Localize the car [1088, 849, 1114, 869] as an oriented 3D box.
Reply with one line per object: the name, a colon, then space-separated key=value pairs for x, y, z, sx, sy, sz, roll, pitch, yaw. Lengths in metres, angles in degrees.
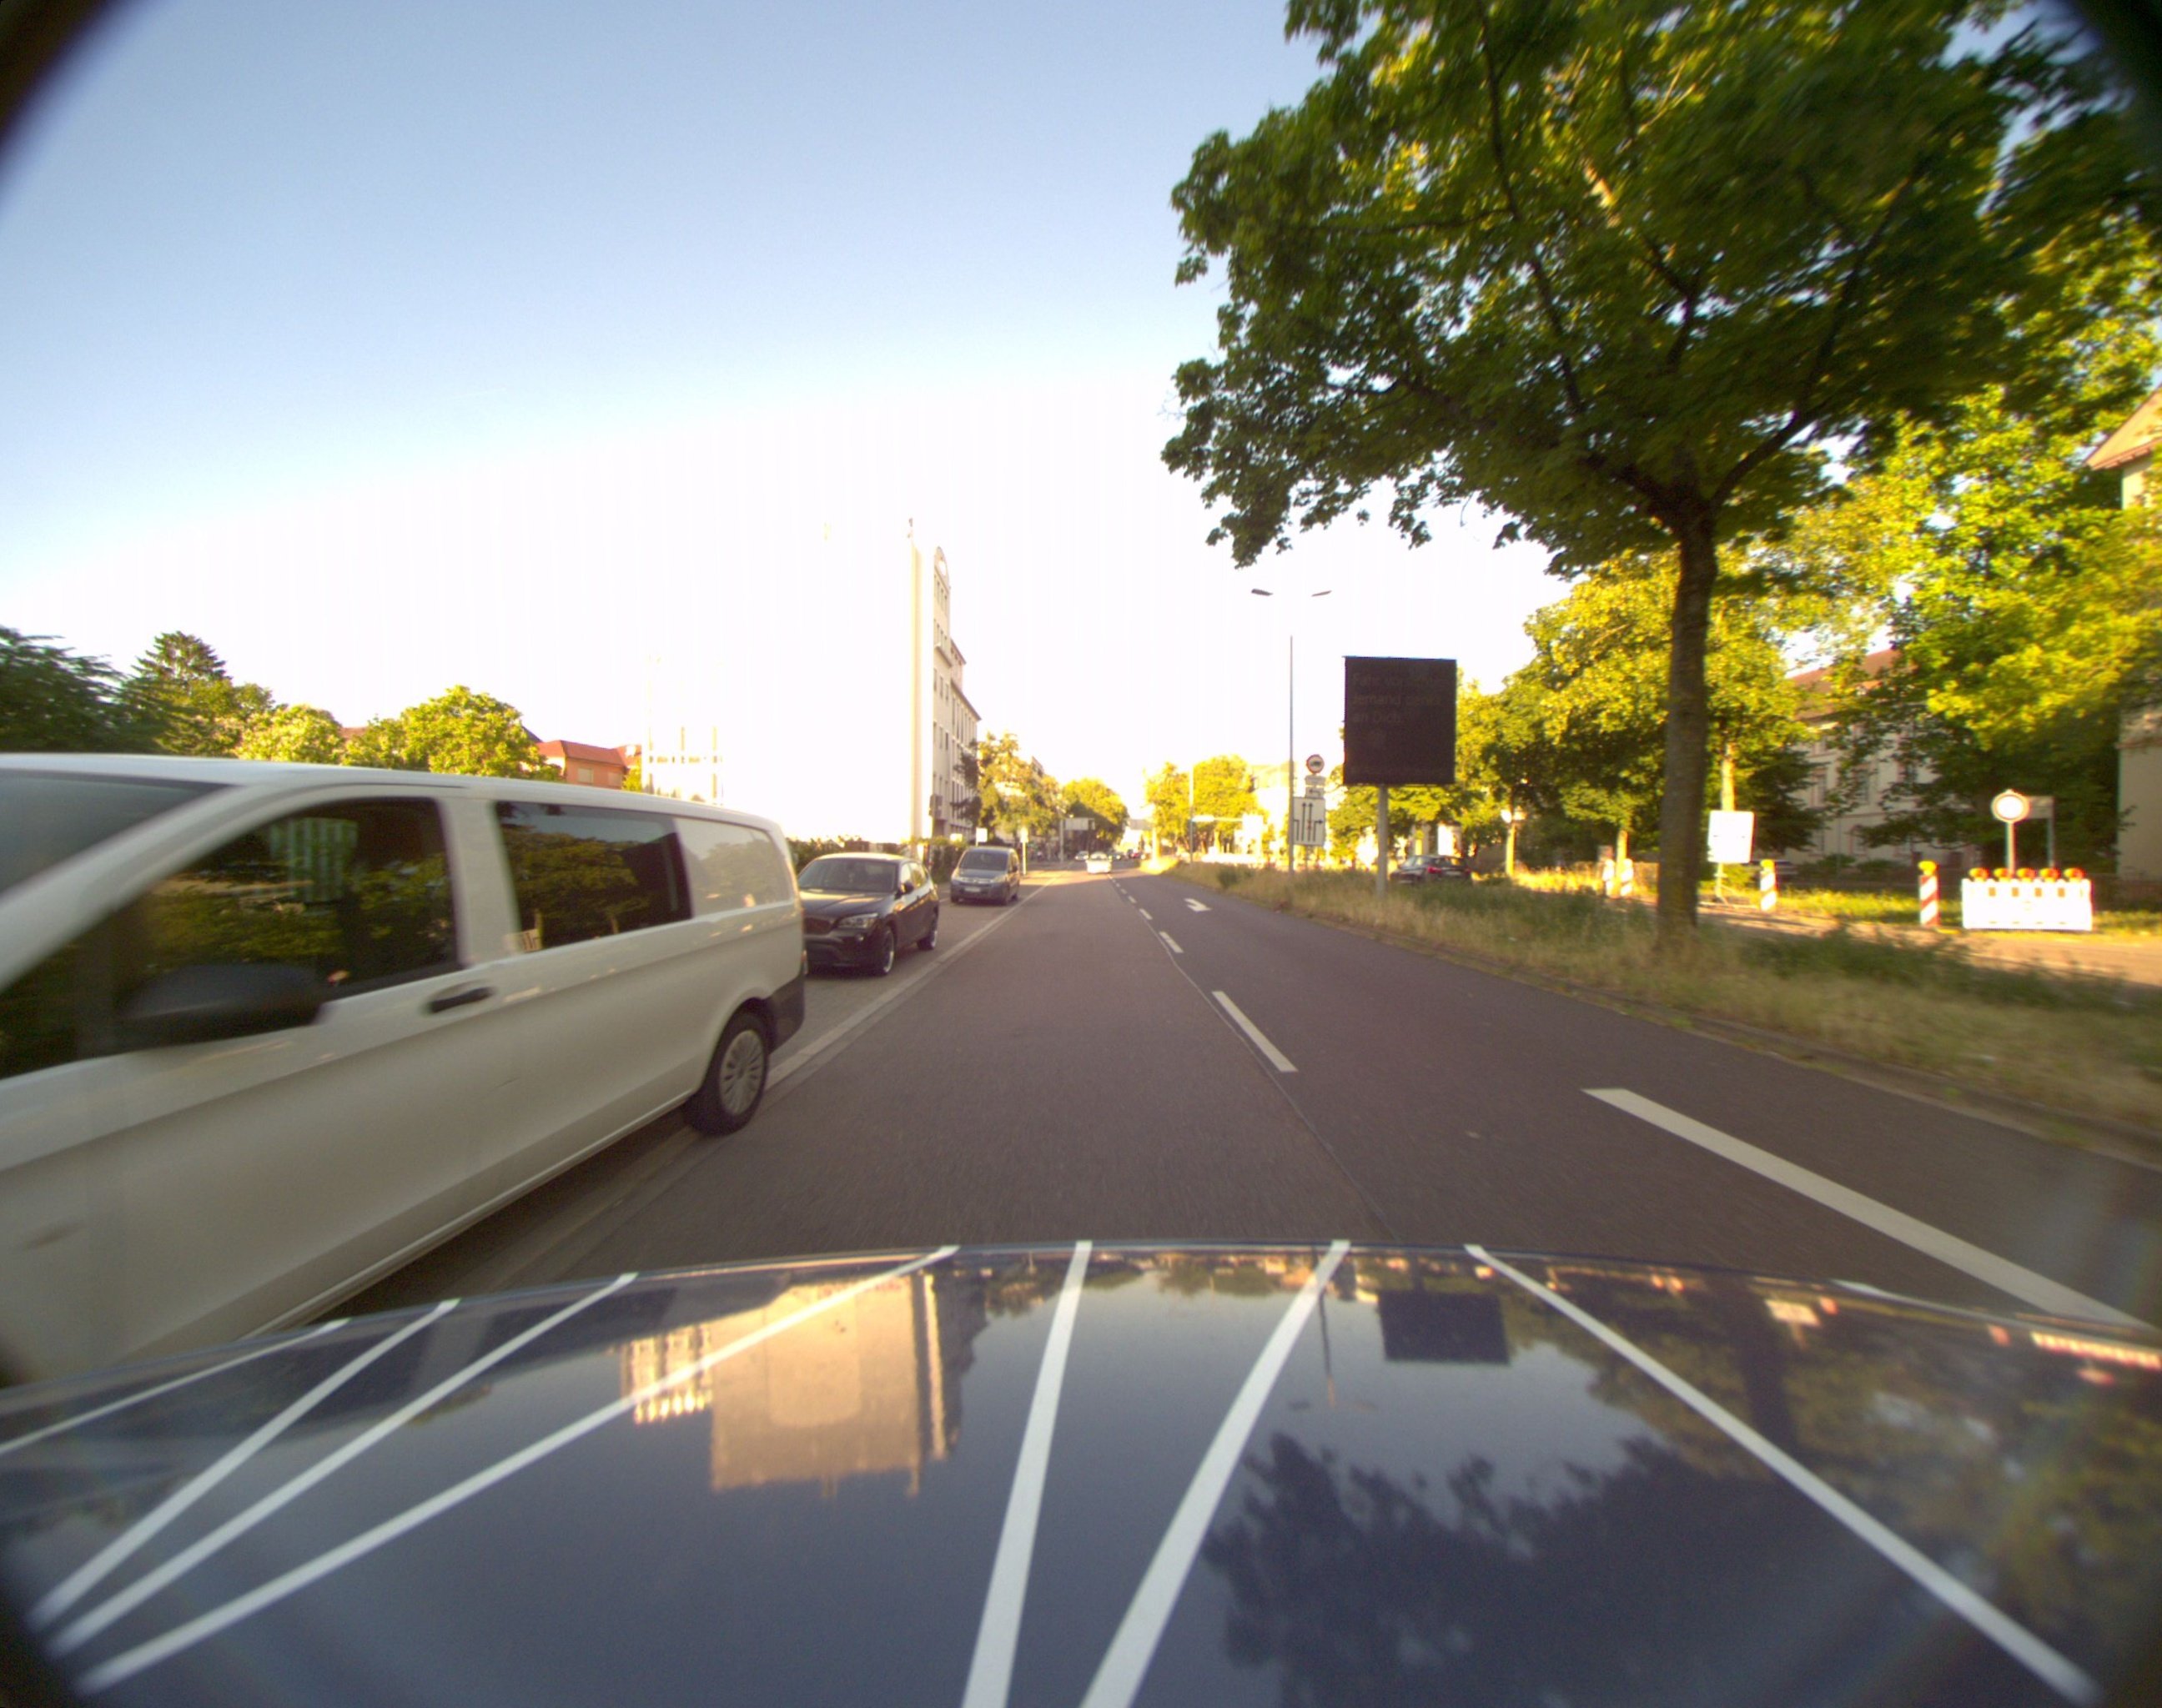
car: x=1.546 y=0.396 z=58.470 sx=1.895 sy=1.455 sz=3.966 roll=1 pitch=0 yaw=1

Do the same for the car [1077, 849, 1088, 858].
car: x=0.267 y=-0.143 z=131.971 sx=1.947 sy=1.514 sz=4.163 roll=1 pitch=0 yaw=0

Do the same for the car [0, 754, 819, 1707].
car: x=-2.919 y=0.729 z=2.635 sx=1.891 sy=1.907 sz=5.180 roll=2 pitch=1 yaw=4

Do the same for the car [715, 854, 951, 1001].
car: x=-3.261 y=0.851 z=11.035 sx=1.778 sy=1.565 sz=4.499 roll=3 pitch=1 yaw=2

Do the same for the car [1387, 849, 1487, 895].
car: x=12.715 y=0.598 z=27.411 sx=1.778 sy=1.409 sz=4.008 roll=3 pitch=1 yaw=2

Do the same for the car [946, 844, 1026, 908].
car: x=-2.966 y=0.628 z=24.673 sx=1.778 sy=1.818 sz=4.555 roll=2 pitch=1 yaw=2

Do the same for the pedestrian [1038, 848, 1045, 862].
pedestrian: x=-5.222 y=0.094 z=101.105 sx=0.721 sy=1.835 sz=0.749 roll=1 pitch=1 yaw=8

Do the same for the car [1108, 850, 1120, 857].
car: x=5.739 y=-0.067 z=131.267 sx=1.947 sy=1.259 sz=4.163 roll=1 pitch=0 yaw=0

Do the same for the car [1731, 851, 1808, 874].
car: x=46.597 y=0.552 z=51.546 sx=1.698 sy=1.368 sz=4.000 roll=-2 pitch=1 yaw=2
